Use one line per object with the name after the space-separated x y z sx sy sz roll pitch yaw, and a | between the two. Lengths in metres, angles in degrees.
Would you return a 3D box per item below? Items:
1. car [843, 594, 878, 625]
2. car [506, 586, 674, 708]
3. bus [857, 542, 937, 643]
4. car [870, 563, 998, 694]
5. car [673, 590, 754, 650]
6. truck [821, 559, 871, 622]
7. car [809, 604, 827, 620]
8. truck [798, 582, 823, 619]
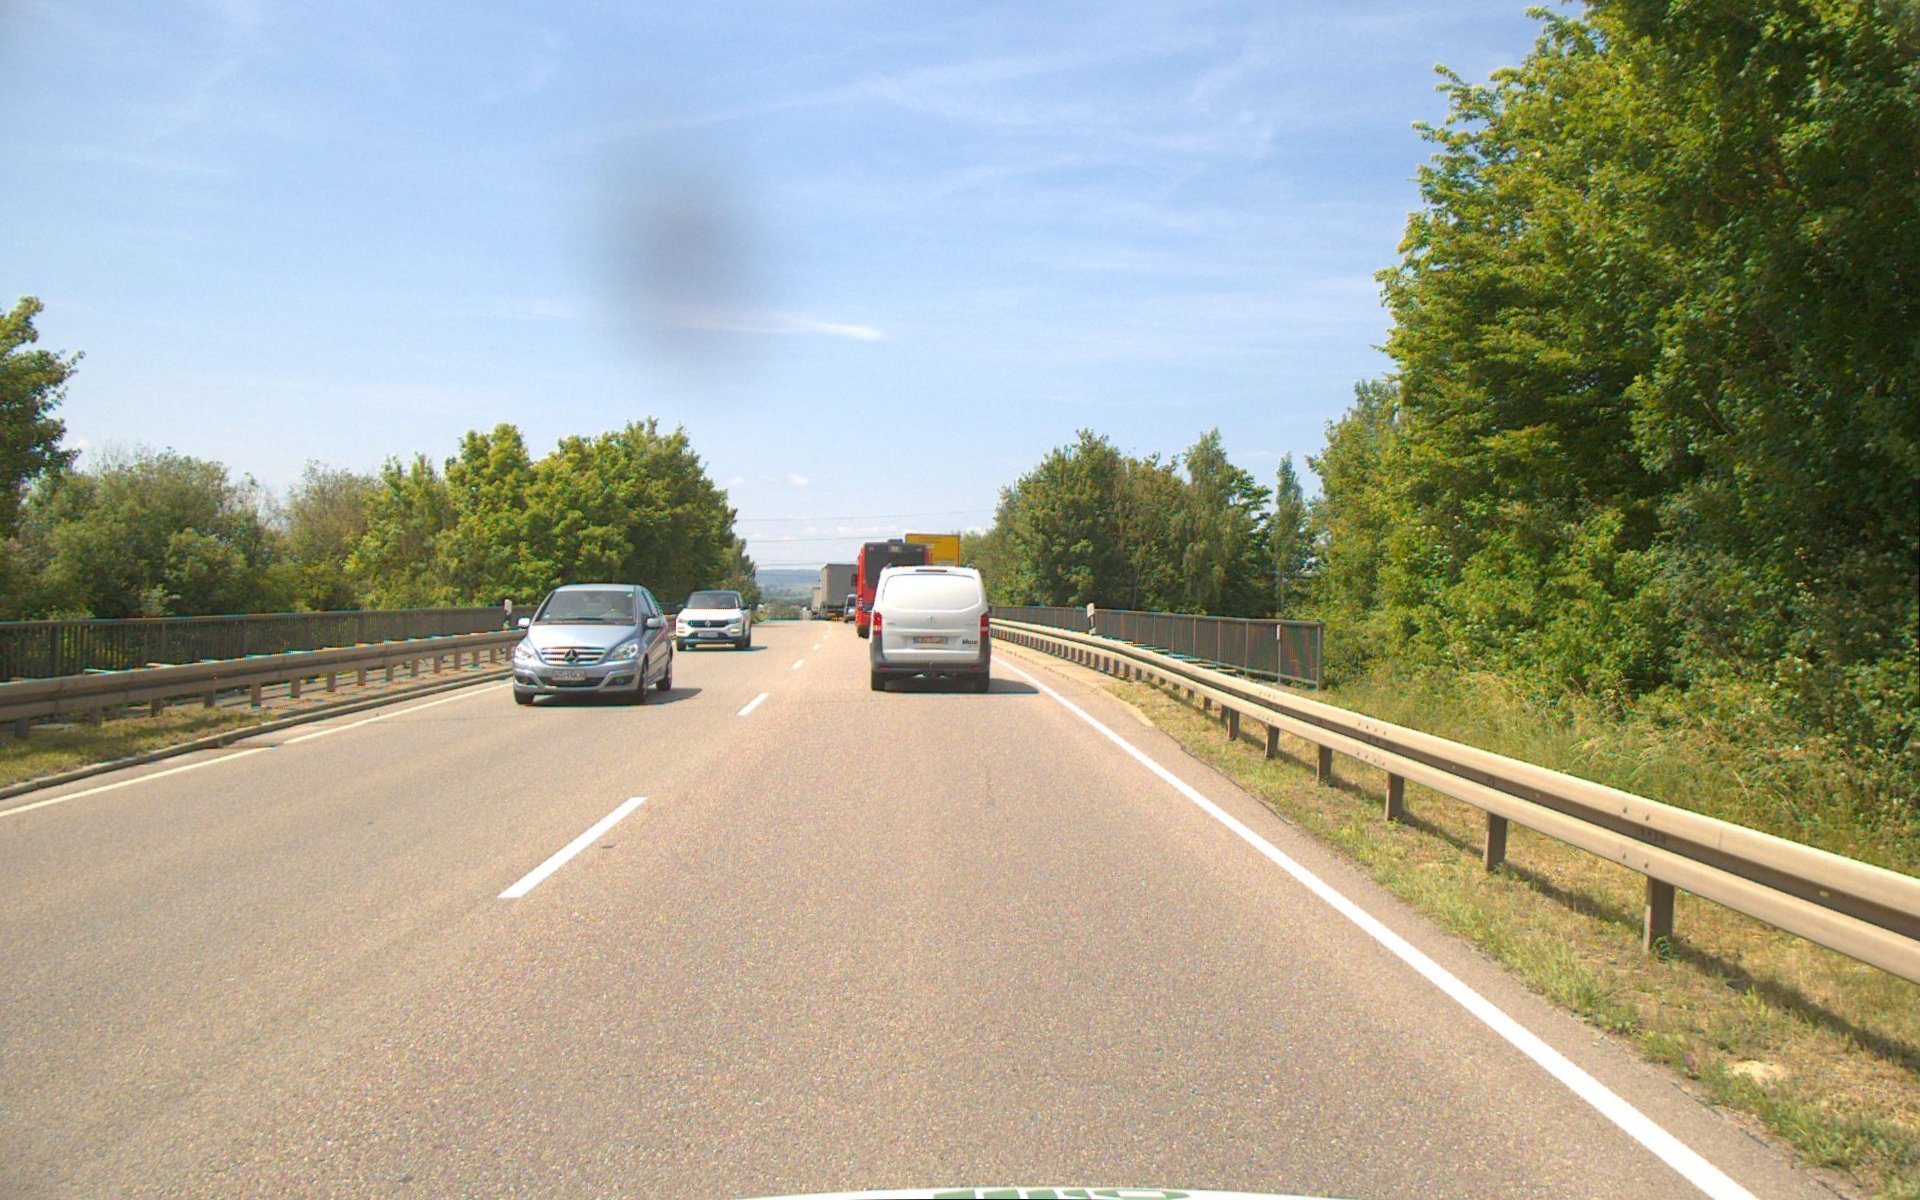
-6.216 0.583 102.965 1.956 1.847 3.994 1 0 -7 | car
-5.169 0.587 23.607 1.627 1.578 4.335 0 0 -3 | car
-2.527 -0.306 62.424 2.692 3.412 13.212 0 0 -4 | bus
-0.484 0.411 26.536 1.885 1.922 3.998 1 0 -3 | car
-6.638 0.509 44.909 1.842 1.538 4.539 0 0 -5 | car
-8.750 -0.747 125.703 3.420 4.500 14.886 0 0 -5 | truck
-16.039 1.337 187.424 1.954 1.847 3.996 1 0 -4 | car
-18.981 -0.007 209.707 2.977 4.532 14.883 0 0 -6 | truck
